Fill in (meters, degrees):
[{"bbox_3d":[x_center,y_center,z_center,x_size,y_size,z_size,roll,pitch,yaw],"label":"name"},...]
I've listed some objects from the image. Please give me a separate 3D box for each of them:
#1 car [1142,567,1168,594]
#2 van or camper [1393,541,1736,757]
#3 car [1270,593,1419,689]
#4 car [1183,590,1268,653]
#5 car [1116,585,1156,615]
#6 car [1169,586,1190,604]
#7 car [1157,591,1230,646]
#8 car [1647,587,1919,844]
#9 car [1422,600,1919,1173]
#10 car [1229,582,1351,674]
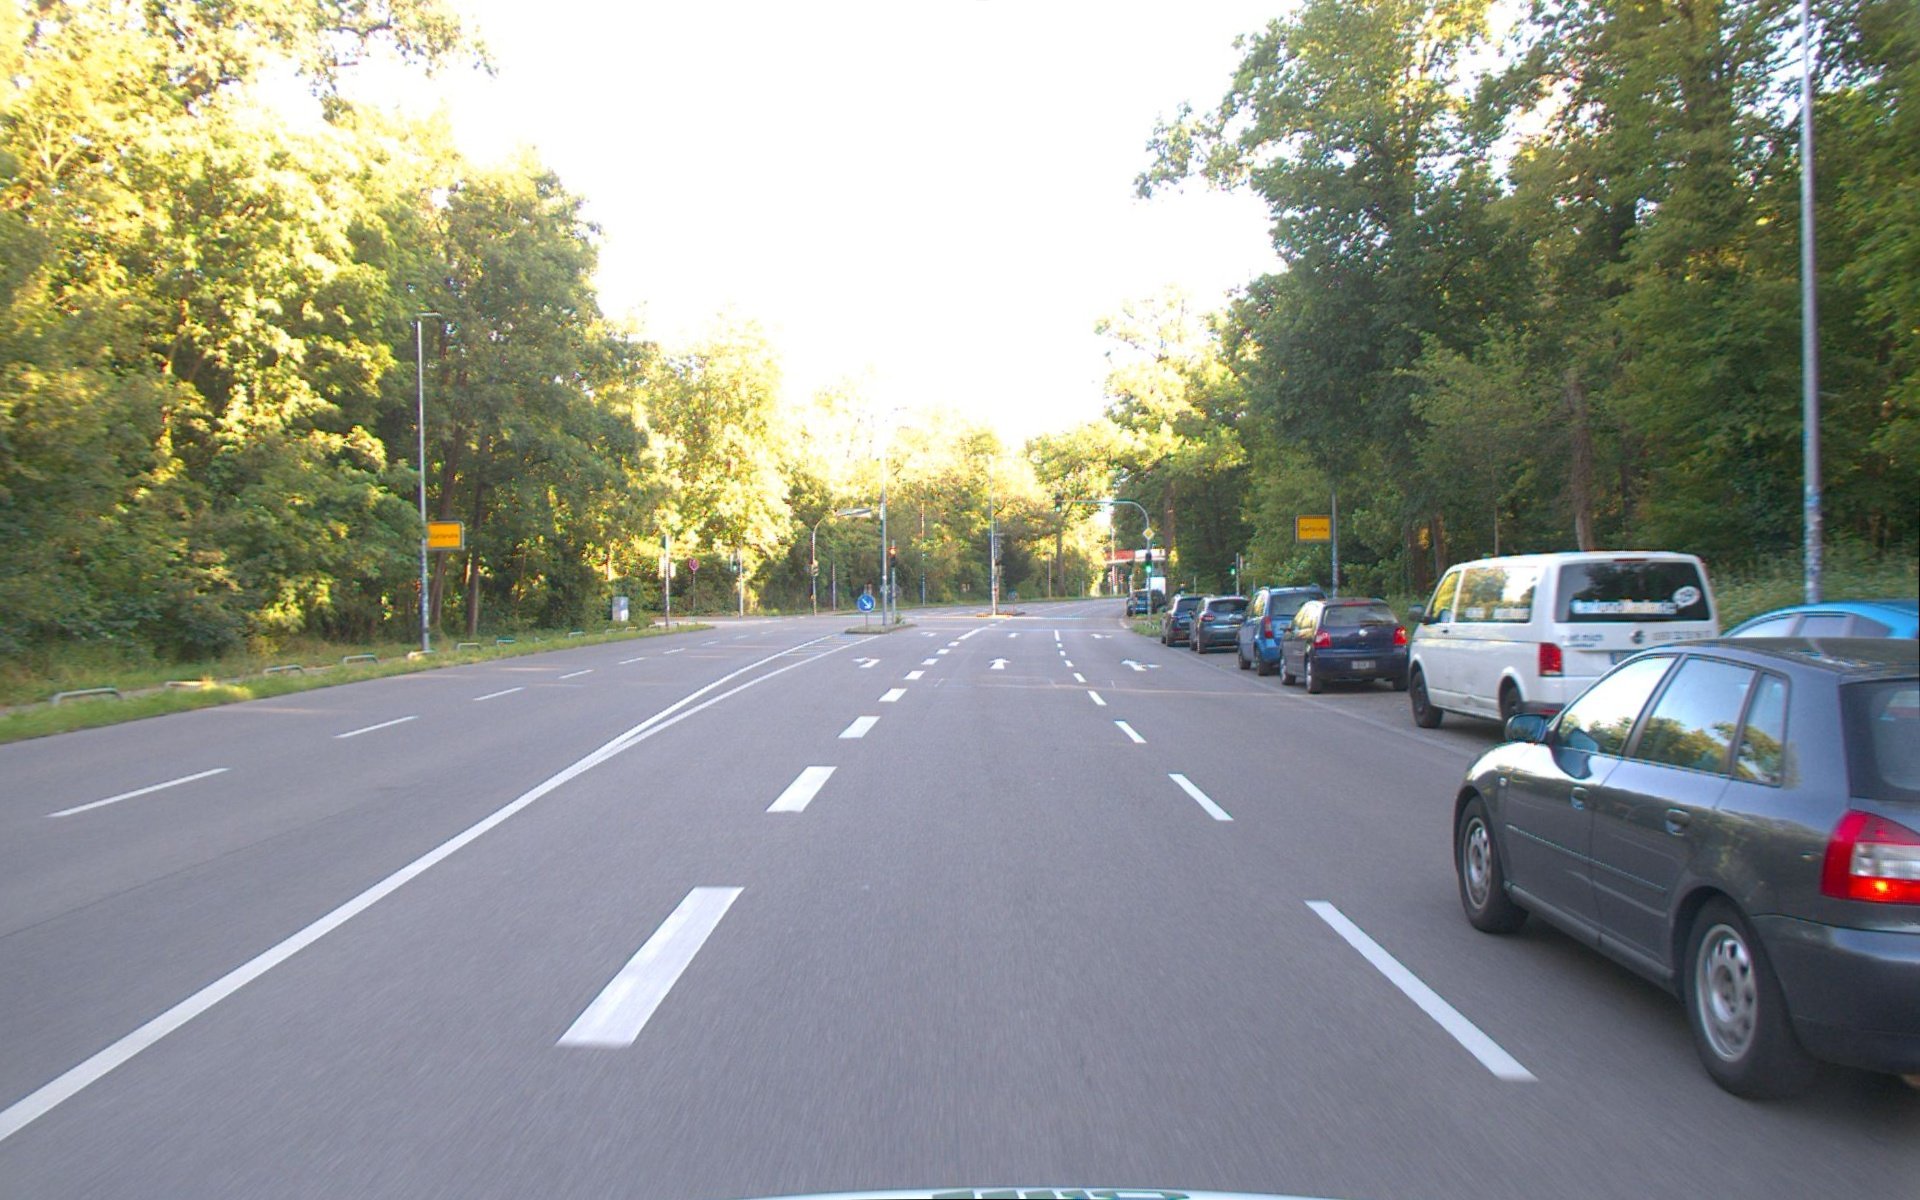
[{"bbox_3d":[17.843,-1.790,151.540,2.259,2.376,4.563,0,0,6],"label":"car"},{"bbox_3d":[6.336,0.442,18.089,1.794,2.005,5.341,0,0,0],"label":"van or camper"},{"bbox_3d":[6.341,0.633,27.668,1.616,1.467,4.114,0,0,1],"label":"car"},{"bbox_3d":[6.987,0.525,43.805,1.692,1.516,4.091,-2,0,2],"label":"car"},{"bbox_3d":[10.257,-0.024,96.565,1.952,1.646,4.001,-2,0,1],"label":"car"},{"bbox_3d":[23.532,-0.565,177.183,1.952,1.937,4.002,0,0,3],"label":"car"},{"bbox_3d":[6.905,0.517,49.307,1.692,1.487,4.168,-2,0,2],"label":"car"},{"bbox_3d":[6.572,0.685,11.877,1.614,1.549,3.866,-1,0,-1],"label":"car"},{"bbox_3d":[3.222,0.752,6.394,1.692,1.466,4.089,0,0,-1],"label":"car"},{"bbox_3d":[6.549,0.518,33.200,1.692,1.734,4.090,0,0,1],"label":"car"}]
